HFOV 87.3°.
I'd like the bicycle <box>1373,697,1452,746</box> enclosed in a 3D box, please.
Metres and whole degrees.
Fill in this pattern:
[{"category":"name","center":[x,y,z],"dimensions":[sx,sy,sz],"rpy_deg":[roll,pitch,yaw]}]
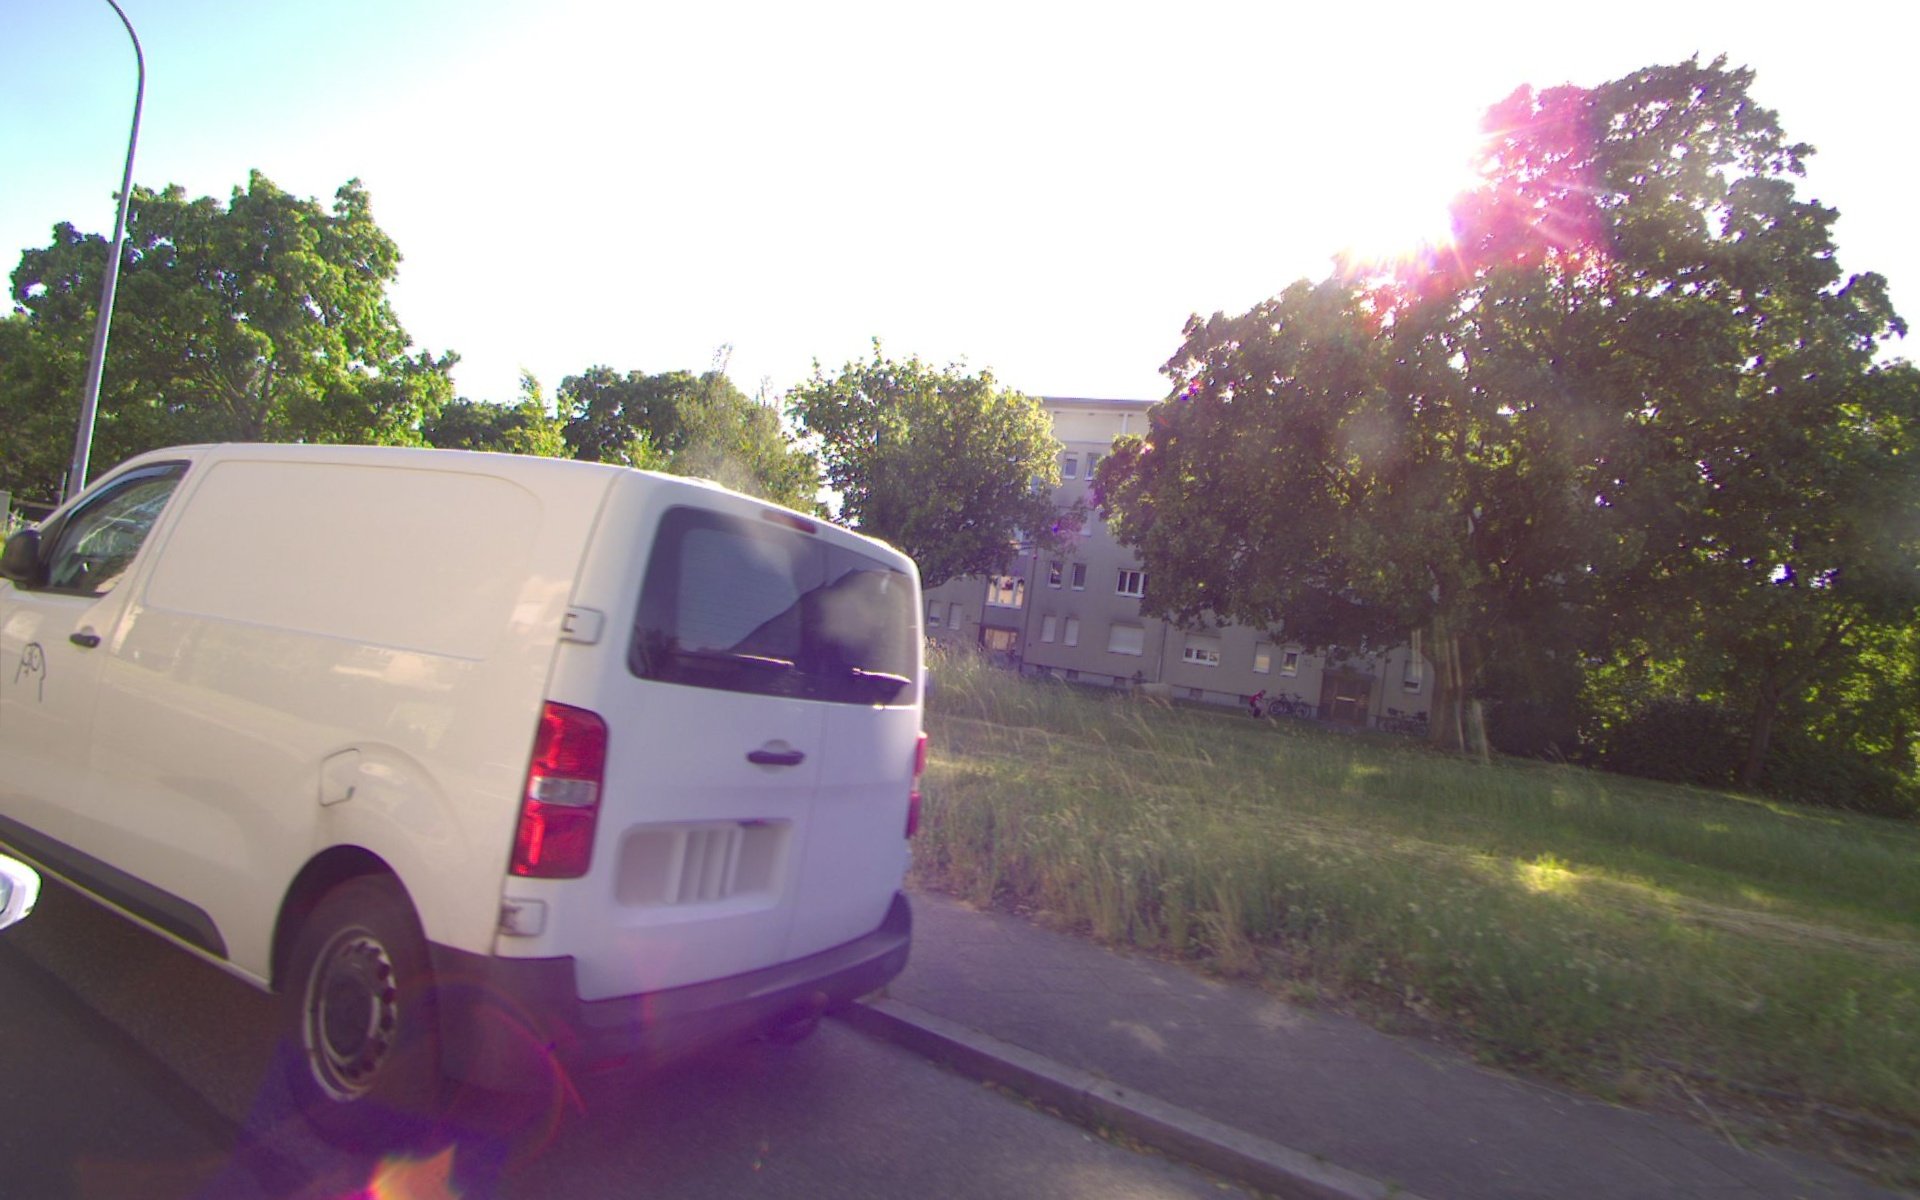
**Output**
[{"category":"bicycle","center":[18.082,4.829,40.265],"dimensions":[2.706,1.543,0.782],"rpy_deg":[7,-1,26]}]

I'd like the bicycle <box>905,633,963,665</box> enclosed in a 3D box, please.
[{"category":"bicycle","center":[-1.271,2.428,49.896],"dimensions":[2.645,1.219,0.942],"rpy_deg":[8,-1,8]}]

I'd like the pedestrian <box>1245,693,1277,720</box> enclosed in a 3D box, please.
[{"category":"pedestrian","center":[11.367,4.004,37.988],"dimensions":[0.986,0.858,0.745],"rpy_deg":[7,-1,24]}]

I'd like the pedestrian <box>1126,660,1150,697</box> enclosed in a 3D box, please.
[{"category":"pedestrian","center":[7.589,3.339,42.864],"dimensions":[0.753,1.474,0.757],"rpy_deg":[7,-1,20]}]

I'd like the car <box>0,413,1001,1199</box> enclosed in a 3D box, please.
[{"category":"car","center":[-2.482,0.429,4.221],"dimensions":[4.784,1.892,1.921],"rpy_deg":[7,-3,31]}]

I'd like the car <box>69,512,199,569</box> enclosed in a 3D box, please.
[{"category":"car","center":[-32.985,-2.349,40.226],"dimensions":[1.803,1.596,3.682],"rpy_deg":[7,-2,42]}]

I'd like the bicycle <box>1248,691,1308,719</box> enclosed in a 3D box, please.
[{"category":"bicycle","center":[13.525,4.448,42.764],"dimensions":[2.266,0.821,0.694],"rpy_deg":[7,-1,31]}]

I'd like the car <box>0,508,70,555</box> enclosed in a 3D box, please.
[{"category":"car","center":[-35.665,-2.734,36.752],"dimensions":[1.720,1.352,4.428],"rpy_deg":[8,-2,39]}]

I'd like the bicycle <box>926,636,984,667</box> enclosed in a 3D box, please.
[{"category":"bicycle","center":[-0.241,2.587,50.626],"dimensions":[2.645,1.219,0.942],"rpy_deg":[8,-1,8]}]
